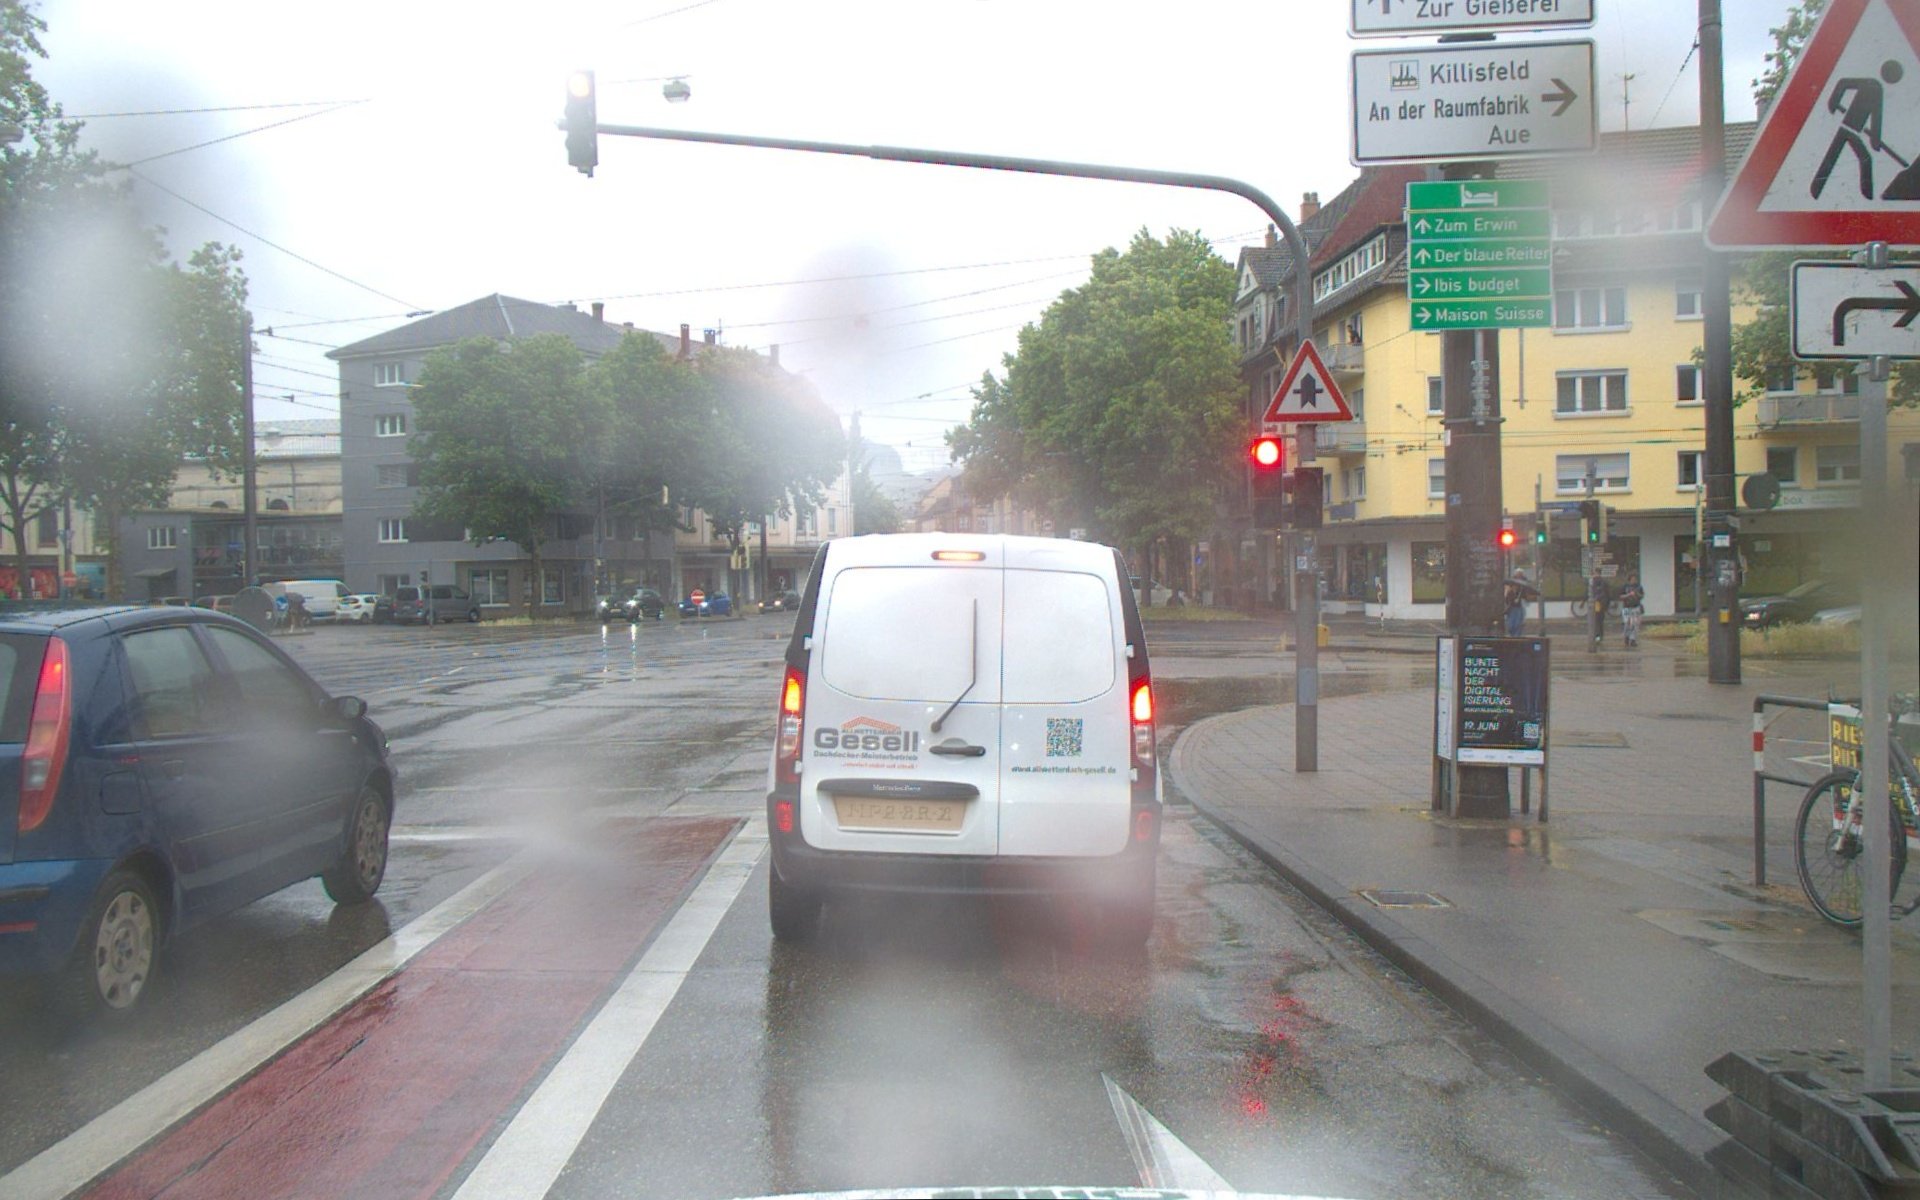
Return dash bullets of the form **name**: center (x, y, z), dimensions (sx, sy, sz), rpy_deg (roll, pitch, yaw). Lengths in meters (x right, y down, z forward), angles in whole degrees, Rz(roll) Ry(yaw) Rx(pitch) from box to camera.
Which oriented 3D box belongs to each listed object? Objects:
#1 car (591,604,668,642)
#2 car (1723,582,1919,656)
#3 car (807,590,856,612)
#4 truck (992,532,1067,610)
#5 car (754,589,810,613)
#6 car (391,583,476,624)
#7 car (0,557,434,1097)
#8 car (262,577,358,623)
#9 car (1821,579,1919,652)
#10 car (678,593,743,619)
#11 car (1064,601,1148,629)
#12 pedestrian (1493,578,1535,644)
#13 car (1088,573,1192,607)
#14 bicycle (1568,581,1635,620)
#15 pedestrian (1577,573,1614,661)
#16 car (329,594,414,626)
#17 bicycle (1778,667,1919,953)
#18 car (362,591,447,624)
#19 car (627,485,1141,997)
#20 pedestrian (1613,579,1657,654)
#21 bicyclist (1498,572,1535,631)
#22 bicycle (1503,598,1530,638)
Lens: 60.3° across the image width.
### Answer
- **car**: center (-15.335, 1.039, 76.993), dimensions (1.909, 1.635, 4.003), rpy_deg (0, 1, 16)
- **car**: center (20.863, 0.467, 39.059), dimensions (4.832, 1.672, 2.001), rpy_deg (0, -2, 11)
- **car**: center (-8.329, 0.053, 107.737), dimensions (1.909, 1.260, 4.003), rpy_deg (0, 2, 16)
- **truck**: center (5.071, -1.911, 116.861), dimensions (3.395, 5.176, 15.320), rpy_deg (0, 0, 10)
- **car**: center (-10.515, 0.051, 97.850), dimensions (1.909, 1.260, 4.003), rpy_deg (0, 2, 16)
- **car**: center (-26.797, 0.182, 84.278), dimensions (1.954, 2.049, 3.996), rpy_deg (0, 0, 26)
- **car**: center (-3.605, 0.668, 6.819), dimensions (1.692, 1.606, 3.820), rpy_deg (0, 0, -1)
- **car**: center (-34.134, -0.043, 86.947), dimensions (1.953, 2.236, 4.787), rpy_deg (1, 2, 22)
- **car**: center (21.025, 0.317, 35.883), dimensions (3.854, 1.516, 1.808), rpy_deg (0, 1, 15)
- **car**: center (-13.127, 0.306, 87.159), dimensions (1.909, 1.260, 4.003), rpy_deg (0, 2, 16)
- **car**: center (6.253, 0.643, 71.019), dimensions (3.378, 1.150, 1.469), rpy_deg (0, 0, -9)
- **pedestrian**: center (13.186, 0.259, 39.396), dimensions (0.809, 1.561, 0.614), rpy_deg (1, 0, -39)
- **car**: center (7.506, -0.417, 69.034), dimensions (4.088, 1.362, 1.518), rpy_deg (0, 1, -8)
- **bicycle**: center (21.554, 0.011, 55.576), dimensions (2.056, 1.283, 0.532), rpy_deg (0, 1, 14)
- **pedestrian**: center (15.126, 0.400, 39.344), dimensions (0.779, 2.049, 0.860), rpy_deg (0, 0, 24)
- **car**: center (-30.977, 0.496, 87.147), dimensions (1.915, 1.522, 3.997), rpy_deg (0, 2, 26)
- **bicycle**: center (4.256, 0.909, 7.066), dimensions (0.503, 1.126, 2.017), rpy_deg (3, 0, 1)
- **car**: center (-28.849, 0.377, 86.037), dimensions (1.954, 1.556, 3.997), rpy_deg (0, 2, 26)
- **car**: center (-0.340, 0.570, 9.127), dimensions (2.058, 2.047, 4.962), rpy_deg (0, 0, -1)
- **pedestrian**: center (15.689, 0.372, 38.460), dimensions (0.886, 1.698, 1.019), rpy_deg (0, 0, 26)
- **bicyclist**: center (14.980, 0.042, 44.535), dimensions (0.914, 1.574, 1.069), rpy_deg (0, 0, 20)
- **bicycle**: center (14.960, 0.466, 44.432), dimensions (0.643, 1.045, 2.024), rpy_deg (0, 0, 19)
